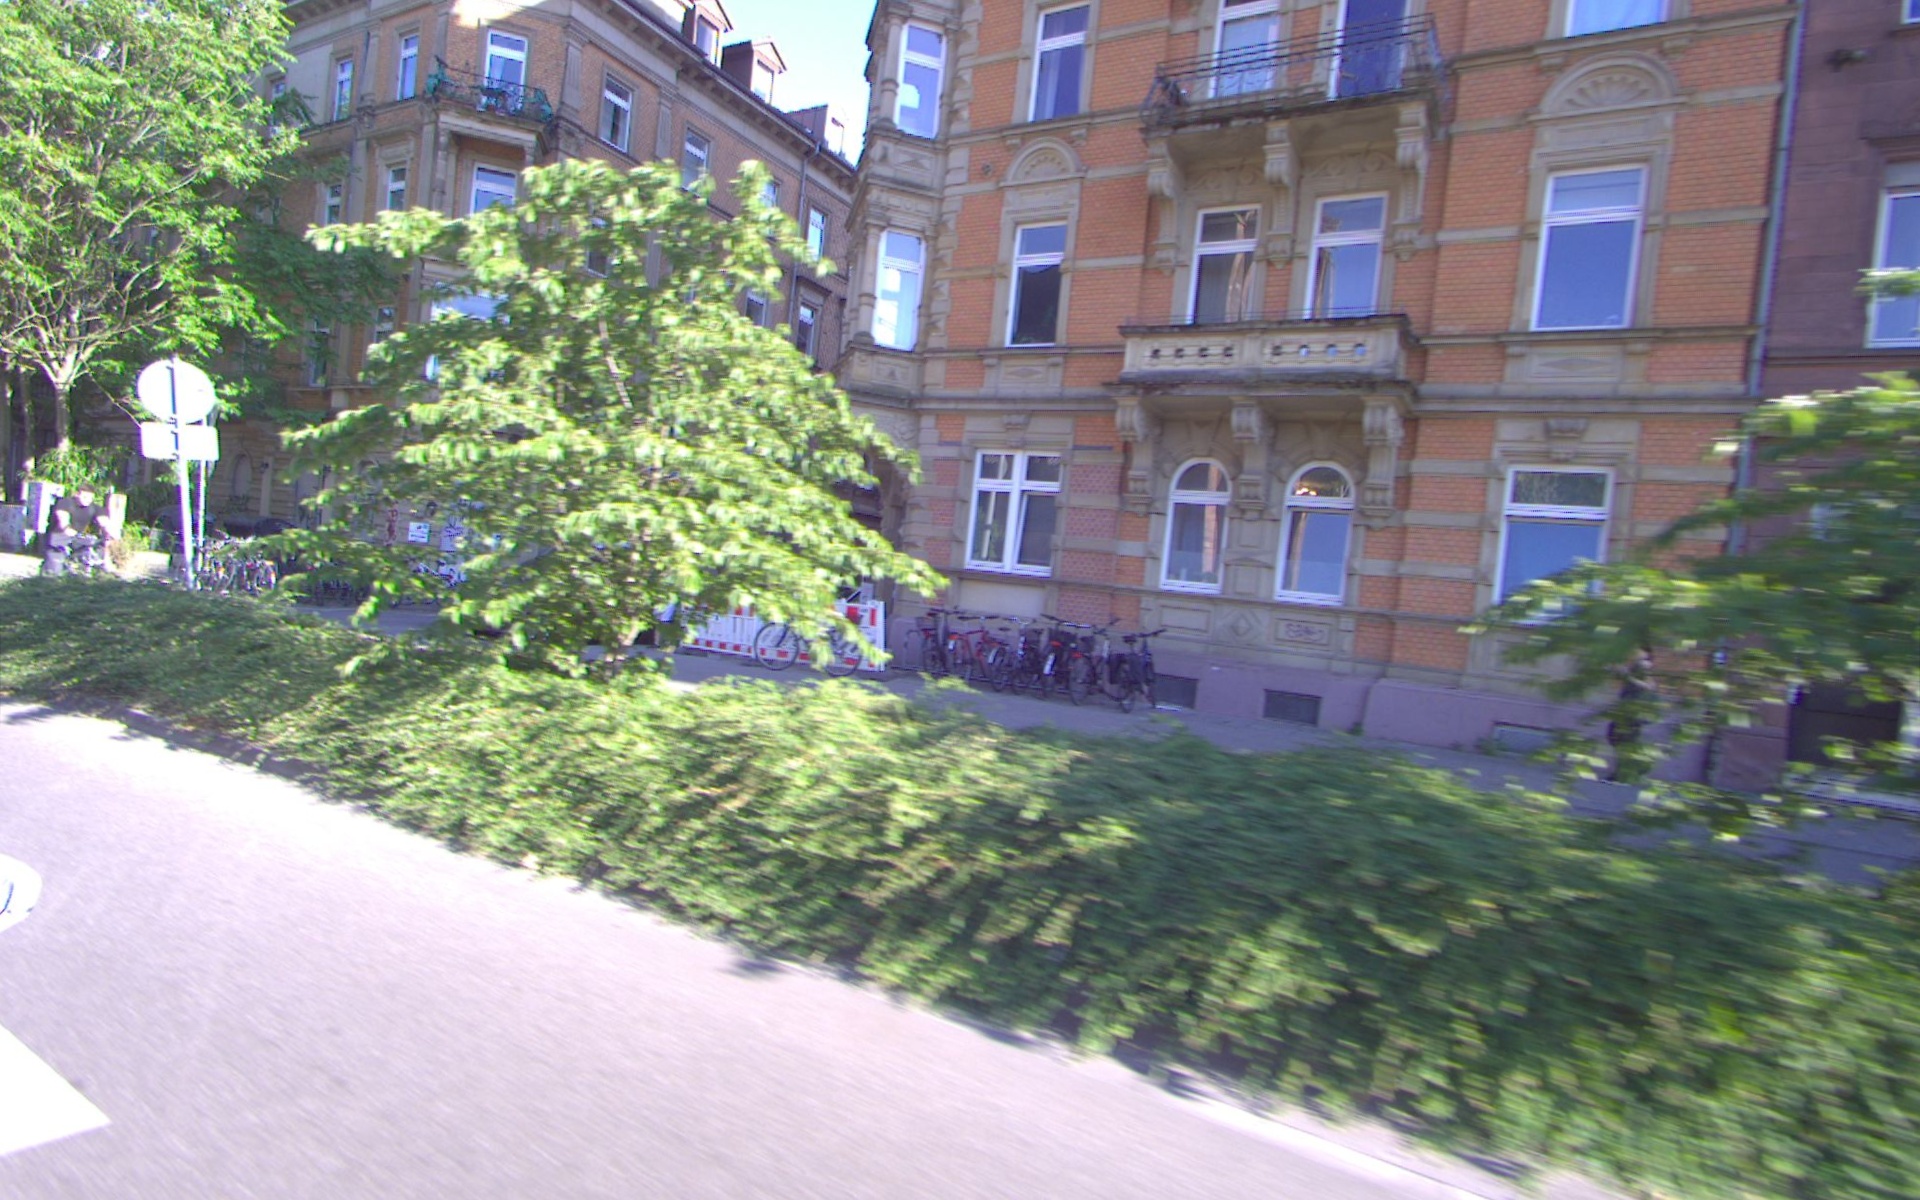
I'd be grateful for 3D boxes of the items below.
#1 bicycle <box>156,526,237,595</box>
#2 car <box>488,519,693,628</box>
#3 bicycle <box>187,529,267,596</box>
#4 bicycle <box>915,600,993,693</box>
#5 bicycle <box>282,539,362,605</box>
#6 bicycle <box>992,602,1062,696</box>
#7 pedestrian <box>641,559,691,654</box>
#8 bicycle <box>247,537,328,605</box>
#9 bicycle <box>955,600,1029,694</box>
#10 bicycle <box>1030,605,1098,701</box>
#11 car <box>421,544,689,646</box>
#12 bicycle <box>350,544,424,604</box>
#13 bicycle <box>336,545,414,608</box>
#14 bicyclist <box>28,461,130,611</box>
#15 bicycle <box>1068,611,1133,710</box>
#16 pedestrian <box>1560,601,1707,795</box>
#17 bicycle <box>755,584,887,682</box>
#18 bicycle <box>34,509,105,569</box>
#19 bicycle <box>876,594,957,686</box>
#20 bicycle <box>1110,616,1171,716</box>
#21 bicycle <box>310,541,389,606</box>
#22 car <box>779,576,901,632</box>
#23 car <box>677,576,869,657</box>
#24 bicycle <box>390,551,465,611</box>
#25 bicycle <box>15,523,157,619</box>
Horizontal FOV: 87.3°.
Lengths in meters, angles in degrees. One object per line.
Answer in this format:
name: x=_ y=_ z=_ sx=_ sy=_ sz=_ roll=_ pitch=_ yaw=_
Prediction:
bicycle: x=-14.580 y=-0.759 z=19.199 sx=1.789 sy=1.062 sz=0.518 roll=10 pitch=4 yaw=30
car: x=-9.077 y=-0.578 z=25.166 sx=1.745 sy=2.151 sz=4.584 roll=10 pitch=2 yaw=29
bicycle: x=-14.324 y=-0.741 z=19.643 sx=1.789 sy=1.062 sz=0.518 roll=10 pitch=4 yaw=30
bicycle: x=-0.057 y=0.661 z=14.931 sx=0.481 sy=1.255 sz=1.888 roll=5 pitch=1 yaw=18
bicycle: x=-12.825 y=-0.568 z=20.197 sx=1.789 sy=1.062 sz=0.518 roll=10 pitch=4 yaw=30
bicycle: x=1.011 y=0.677 z=14.753 sx=0.481 sy=1.255 sz=1.888 roll=5 pitch=1 yaw=18
pedestrian: x=-5.138 y=0.103 z=17.554 sx=0.692 sy=1.554 sz=0.658 roll=5 pitch=2 yaw=-18
bicycle: x=-13.146 y=-0.568 z=19.641 sx=1.789 sy=1.062 sz=0.518 roll=10 pitch=4 yaw=30
bicycle: x=0.503 y=0.658 z=14.809 sx=0.481 sy=1.255 sz=1.888 roll=5 pitch=1 yaw=18
bicycle: x=1.521 y=0.720 z=14.485 sx=0.481 sy=1.255 sz=1.888 roll=5 pitch=1 yaw=18
car: x=-7.238 y=-0.016 z=18.438 sx=1.782 sy=1.434 sz=4.255 roll=10 pitch=3 yaw=30
bicycle: x=-12.568 y=-0.570 z=22.043 sx=1.789 sy=1.062 sz=0.518 roll=10 pitch=4 yaw=30
bicycle: x=-12.311 y=-0.492 z=21.150 sx=1.789 sy=1.062 sz=0.518 roll=10 pitch=4 yaw=30
bicyclist: x=-11.470 y=-0.830 z=13.103 sx=1.034 sy=1.839 sz=0.641 roll=6 pitch=2 yaw=30
bicycle: x=2.003 y=0.805 z=14.146 sx=0.481 sy=1.255 sz=1.888 roll=5 pitch=1 yaw=18
pedestrian: x=7.493 y=1.059 z=11.268 sx=1.118 sy=1.955 sz=0.822 roll=7 pitch=2 yaw=30
bicycle: x=-2.053 y=0.465 z=14.780 sx=1.855 sy=1.255 sz=0.490 roll=5 pitch=2 yaw=22
bicycle: x=-18.422 y=-1.265 z=20.810 sx=1.692 sy=1.002 sz=0.526 roll=10 pitch=4 yaw=29
bicycle: x=-0.619 y=0.570 z=15.098 sx=0.481 sy=1.255 sz=1.888 roll=5 pitch=1 yaw=18
bicycle: x=2.539 y=0.875 z=13.991 sx=0.481 sy=1.255 sz=1.888 roll=5 pitch=1 yaw=18
bicycle: x=-12.567 y=-0.552 z=20.685 sx=1.789 sy=1.062 sz=0.518 roll=10 pitch=4 yaw=30
car: x=-3.995 y=0.177 z=34.147 sx=1.762 sy=1.528 sz=4.163 roll=10 pitch=3 yaw=31
car: x=-4.191 y=0.435 z=23.211 sx=1.783 sy=1.434 sz=4.252 roll=10 pitch=3 yaw=33
bicycle: x=-11.766 y=-0.415 z=22.197 sx=1.789 sy=1.062 sz=0.518 roll=10 pitch=4 yaw=30
bicycle: x=-11.339 y=-0.390 z=13.023 sx=2.320 sy=1.061 sz=0.641 roll=5 pitch=2 yaw=30
